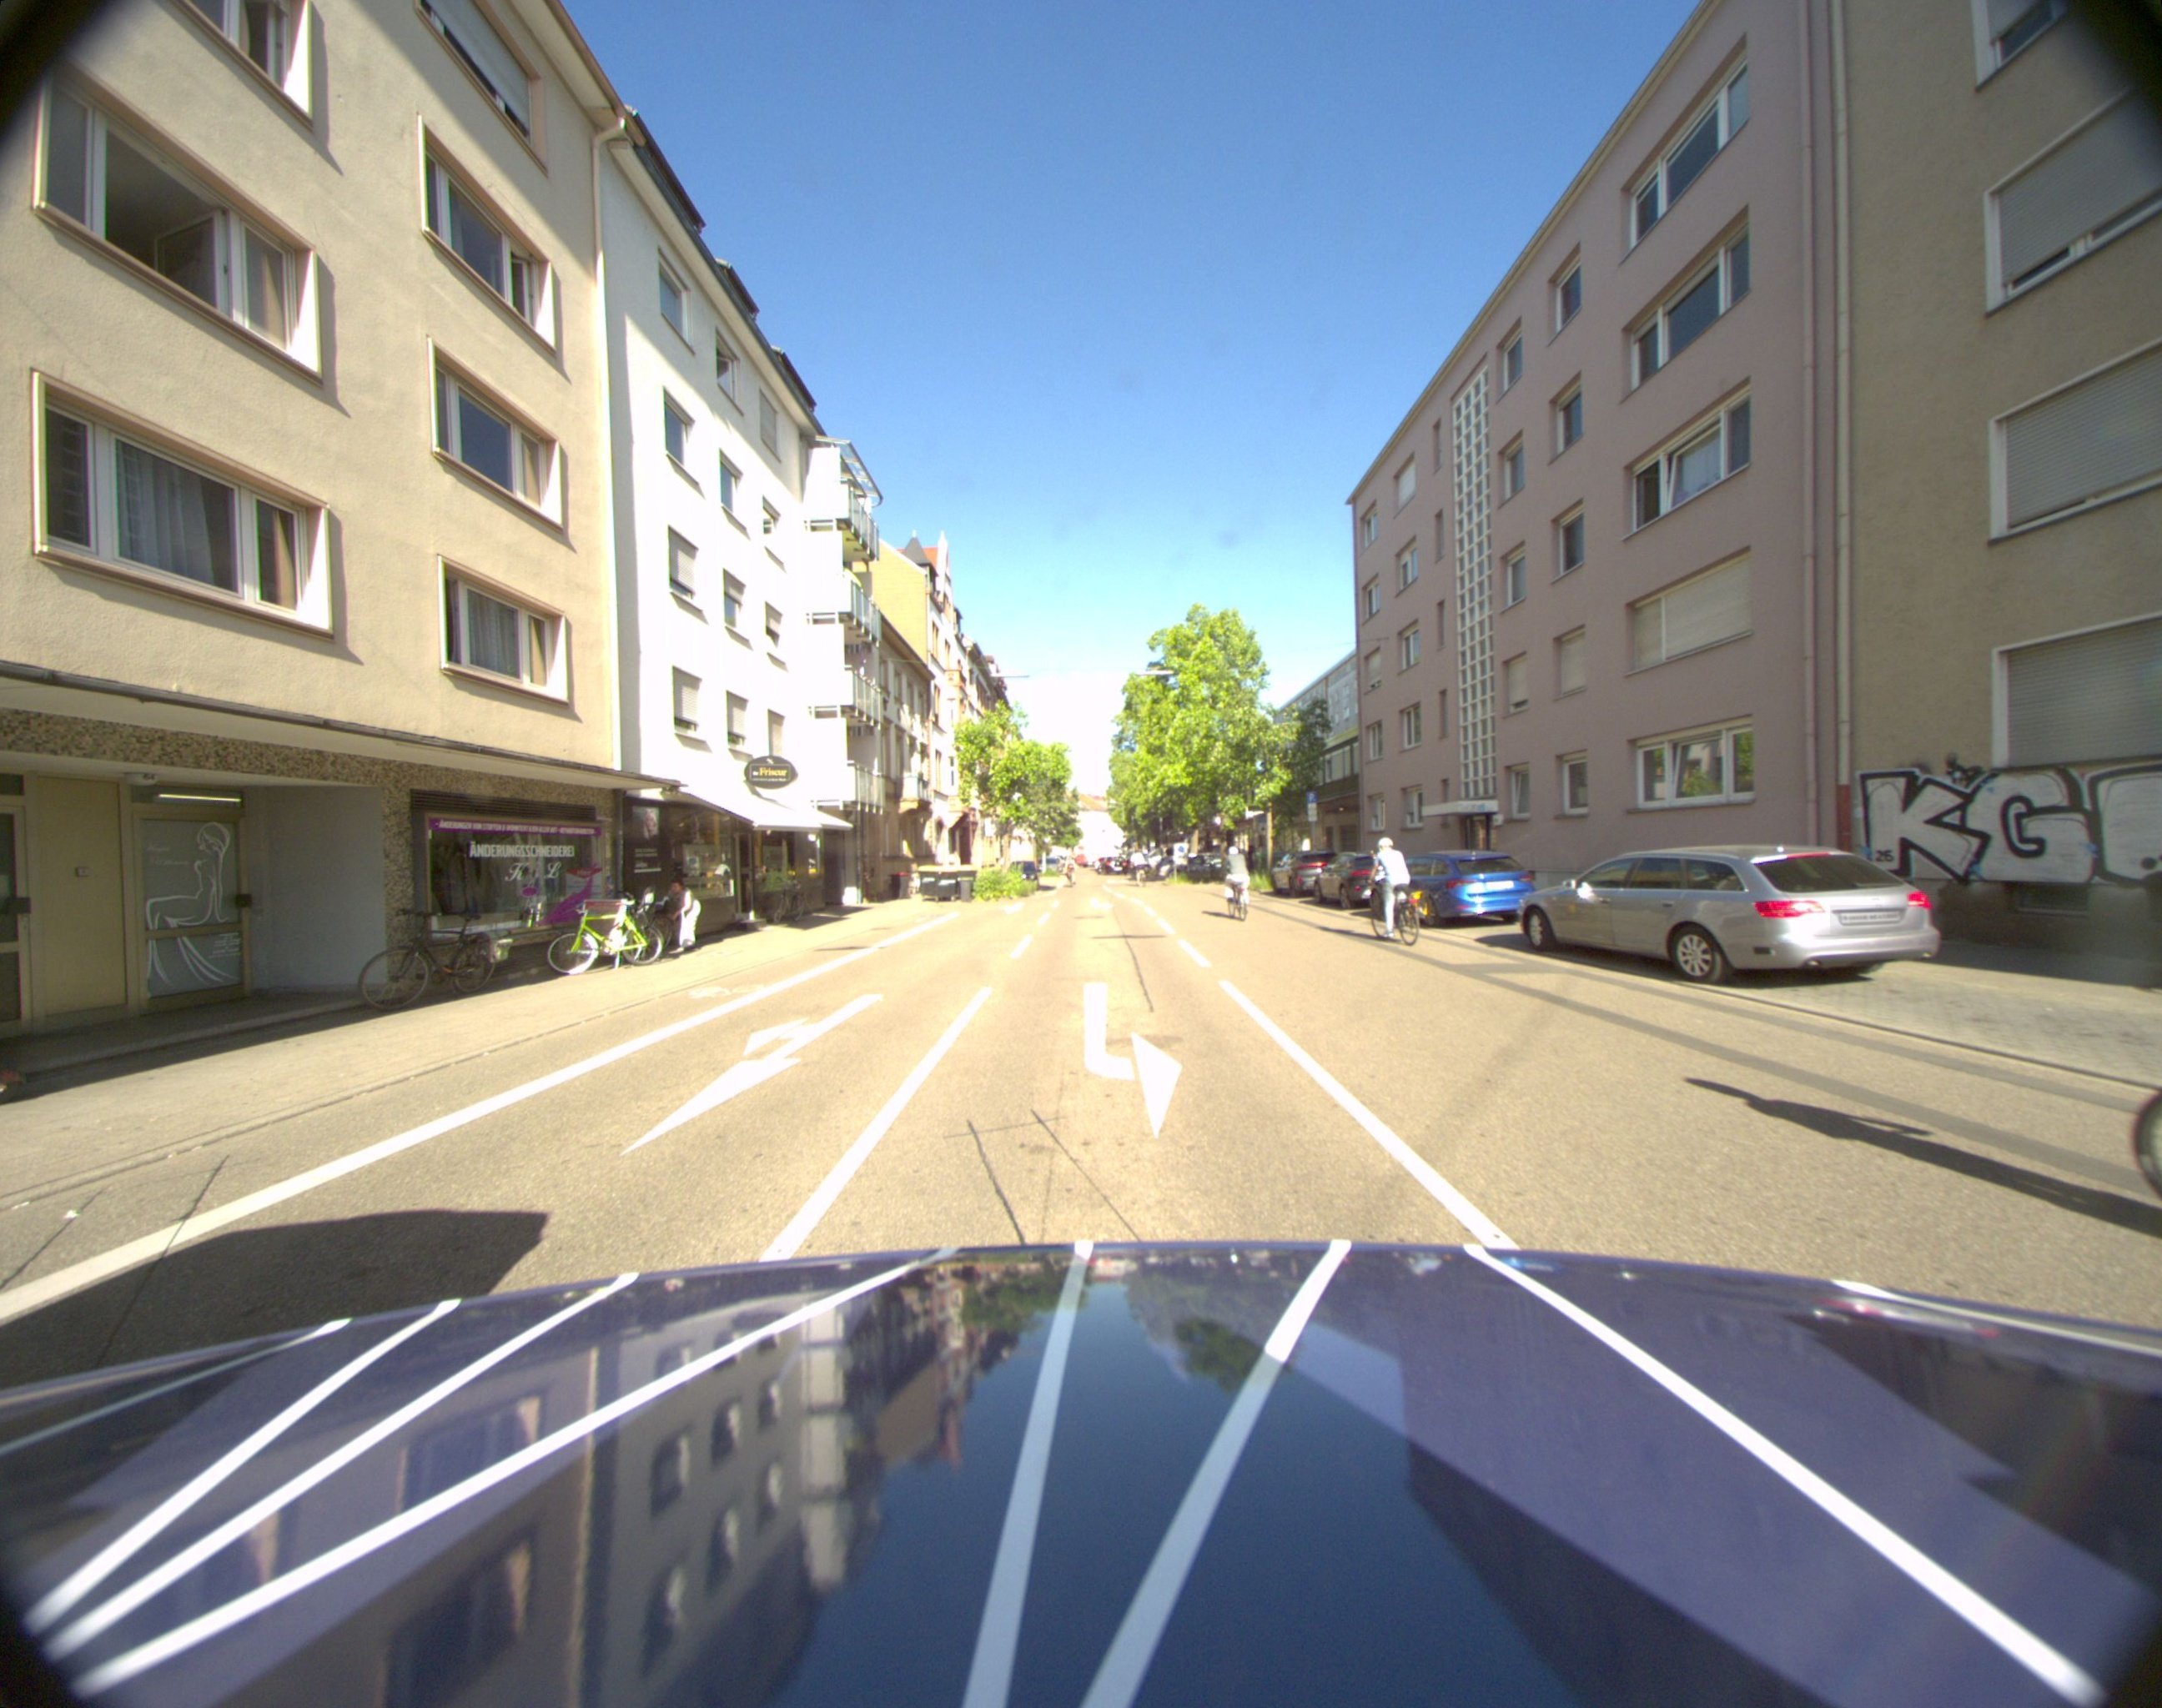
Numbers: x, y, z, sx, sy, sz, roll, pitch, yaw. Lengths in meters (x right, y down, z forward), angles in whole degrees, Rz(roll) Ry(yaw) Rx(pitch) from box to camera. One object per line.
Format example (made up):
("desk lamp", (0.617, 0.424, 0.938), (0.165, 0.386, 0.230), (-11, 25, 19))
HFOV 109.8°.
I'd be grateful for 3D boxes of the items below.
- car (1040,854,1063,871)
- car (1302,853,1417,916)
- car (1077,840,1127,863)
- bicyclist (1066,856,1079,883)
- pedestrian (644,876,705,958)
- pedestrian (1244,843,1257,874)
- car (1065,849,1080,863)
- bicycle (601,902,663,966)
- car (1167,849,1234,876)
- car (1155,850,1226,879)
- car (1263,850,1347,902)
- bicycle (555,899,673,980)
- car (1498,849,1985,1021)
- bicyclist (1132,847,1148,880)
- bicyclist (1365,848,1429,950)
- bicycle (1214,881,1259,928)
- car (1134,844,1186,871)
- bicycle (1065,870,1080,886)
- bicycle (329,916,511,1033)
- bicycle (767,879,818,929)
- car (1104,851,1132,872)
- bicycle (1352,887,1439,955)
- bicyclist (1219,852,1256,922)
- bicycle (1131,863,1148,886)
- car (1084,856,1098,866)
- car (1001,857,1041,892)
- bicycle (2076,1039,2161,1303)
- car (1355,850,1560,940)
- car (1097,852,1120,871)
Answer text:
("car", (-2.753, 0.768, 71.199), (1.914, 1.444, 3.547), (-2, 0, 1))
("car", (7.560, 0.748, 21.041), (1.727, 1.459, 4.158), (-4, 0, 2))
("car", (2.373, -0.270, 85.331), (5.572, 2.379, 1.973), (-2, 1, -38))
("bicyclist", (-0.471, 0.824, 40.283), (0.582, 1.369, 0.665), (-1, 1, 6))
("pedestrian", (-7.429, 1.132, 13.915), (0.776, 1.433, 0.625), (2, 0, -4))
("pedestrian", (9.933, 0.289, 44.577), (0.623, 1.795, 0.502), (-2, 1, 2))
("car", (-1.029, 0.246, 91.231), (1.627, 1.586, 3.547), (-2, 0, 1))
("bicycle", (-7.775, 1.365, 13.190), (0.376, 0.977, 1.175), (-1, 0, -1))
("car", (7.490, 0.540, 47.908), (3.996, 1.543, 1.913), (-2, 0, 3))
("car", (6.400, 0.598, 44.766), (3.996, 1.543, 1.913), (-2, 0, 3))
("car", (7.630, 0.692, 26.269), (1.727, 1.567, 4.158), (-4, 0, 2))
("bicycle", (-7.303, 1.312, 11.938), (1.497, 1.100, 0.722), (-2, 0, -31))
("car", (7.477, 0.753, 9.482), (1.828, 1.494, 4.801), (-4, 0, 0))
("bicyclist", (2.924, 0.481, 37.960), (0.718, 1.611, 0.946), (-1, 1, 1))
("bicyclist", (5.206, 0.722, 12.569), (0.681, 1.621, 0.899), (0, 1, 1))
("bicycle", (3.590, 1.148, 17.638), (0.681, 0.946, 1.933), (0, 0, 1))
("car", (6.083, 0.267, 59.001), (3.875, 2.031, 1.913), (-2, 0, 3))
("bicycle", (-0.455, 1.254, 40.329), (0.582, 0.801, 1.710), (-1, 0, 6))
("bicycle", (-7.642, 1.340, 8.904), (0.407, 1.078, 1.801), (1, 0, 6))
("bicycle", (-7.386, 1.253, 19.535), (0.598, 1.137, 1.774), (1, 0, 1))
("car", (2.779, 0.542, 57.522), (1.911, 1.543, 4.000), (-2, 0, 0))
("bicycle", (5.212, 1.082, 12.727), (0.681, 0.946, 1.933), (-1, 0, 1))
("bicyclist", (3.594, 0.746, 17.505), (0.681, 1.567, 0.899), (0, 1, 1))
("bicycle", (2.928, 0.996, 37.919), (0.718, 1.058, 1.872), (-1, 1, 1))
("car", (1.356, 0.911, 101.494), (1.627, 1.270, 3.547), (-2, 0, 2))
("car", (-2.930, 0.978, 37.562), (1.627, 1.586, 3.547), (-2, 0, 1))
("bicycle", (4.242, 1.185, 2.097), (0.544, 0.897, 1.825), (-1, 0, -3))
("car", (7.605, 0.733, 16.002), (1.828, 1.494, 4.801), (-4, 0, 0))
("car", (2.370, 0.660, 66.681), (1.911, 1.543, 4.000), (-2, 0, 0))
